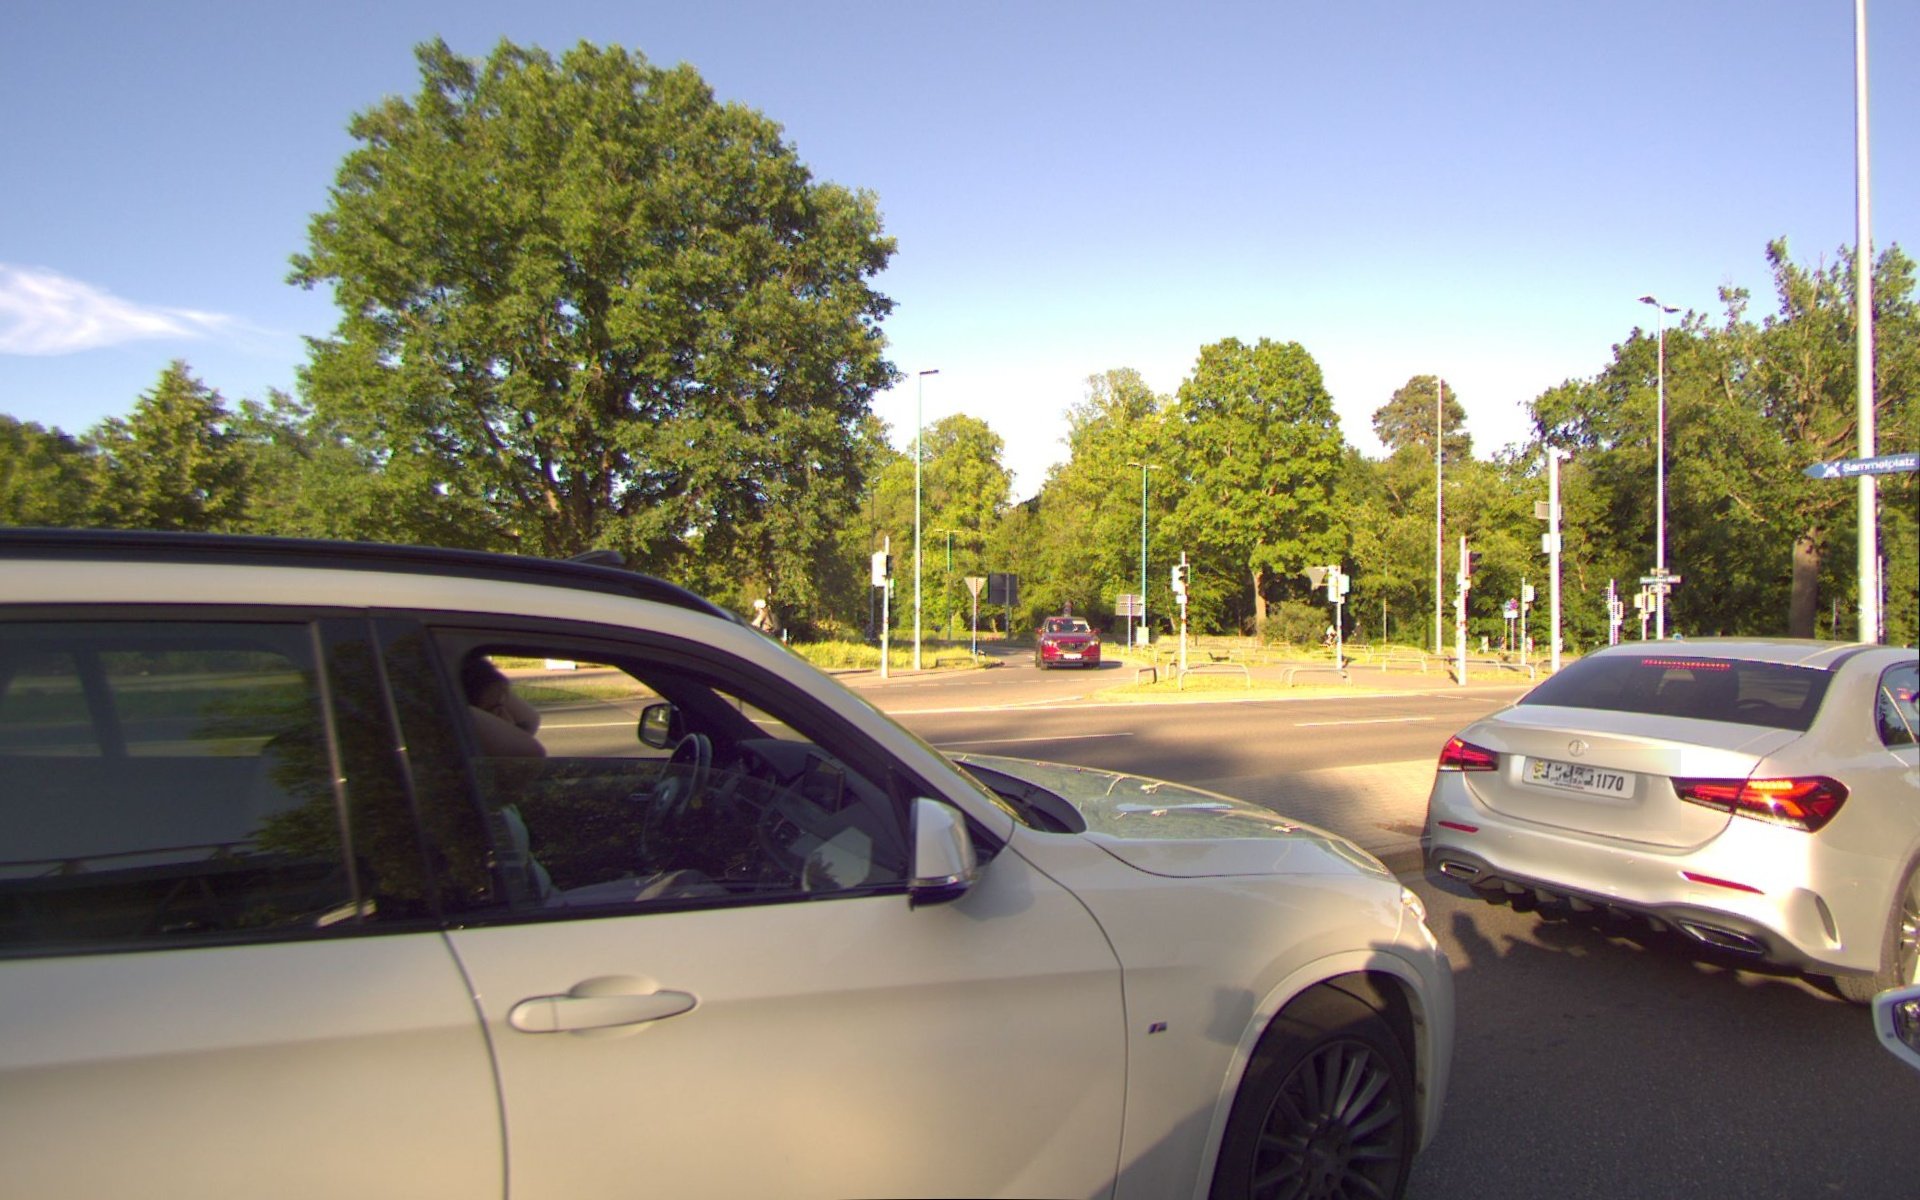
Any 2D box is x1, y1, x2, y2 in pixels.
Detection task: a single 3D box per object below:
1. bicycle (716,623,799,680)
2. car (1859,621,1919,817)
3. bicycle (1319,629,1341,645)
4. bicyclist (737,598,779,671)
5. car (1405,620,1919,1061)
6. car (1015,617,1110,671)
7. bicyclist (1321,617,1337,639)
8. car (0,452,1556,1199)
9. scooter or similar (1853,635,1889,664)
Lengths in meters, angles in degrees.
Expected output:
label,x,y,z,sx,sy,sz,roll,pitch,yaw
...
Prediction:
label,x,y,z,sx,sy,sz,roll,pitch,yaw
bicycle,-4.598,1.180,22.884,1.770,1.254,0.492,2,0,-24
car,9.664,0.986,8.525,4.250,1.533,1.825,1,-1,-30
bicycle,25.584,2.556,69.545,0.770,0.990,1.588,2,0,-8
bicyclist,-4.602,0.776,22.889,0.789,1.632,0.679,2,0,-23
car,4.380,0.867,5.171,4.268,1.446,1.649,1,-1,-30
car,3.151,1.348,31.940,1.858,1.574,4.565,-1,-1,-10
bicyclist,25.586,1.929,69.629,0.716,1.502,0.799,2,0,-8
car,-0.773,0.669,2.188,4.272,1.604,1.783,1,-1,-32
scooter or similar,38.489,2.080,42.425,0.388,1.162,1.065,0,-1,-21
